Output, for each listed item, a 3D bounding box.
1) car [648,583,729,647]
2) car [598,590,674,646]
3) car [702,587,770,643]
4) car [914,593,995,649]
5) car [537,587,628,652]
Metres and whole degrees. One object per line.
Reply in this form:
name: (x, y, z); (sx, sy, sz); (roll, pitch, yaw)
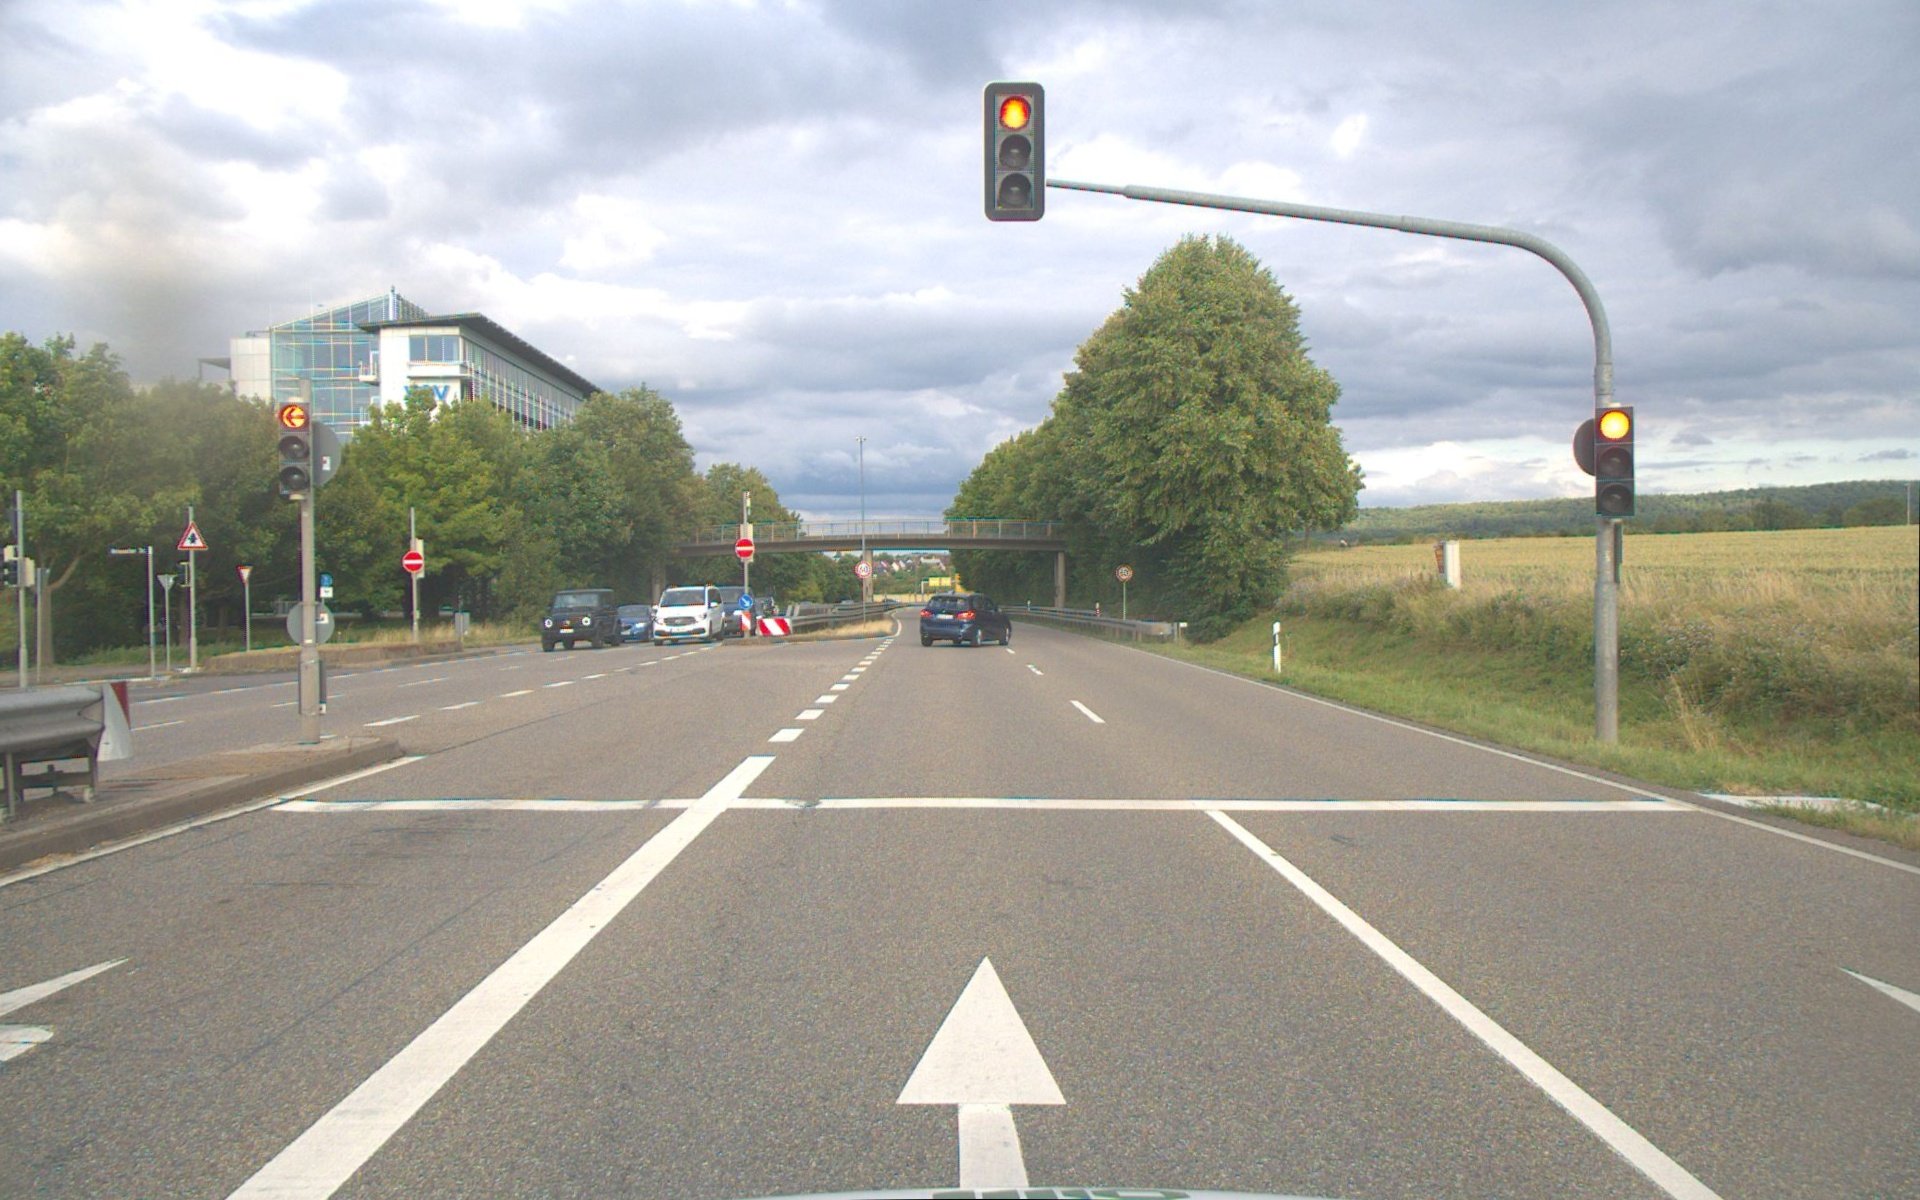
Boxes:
car: (-9.161, 0.487, 56.211); (2.041, 2.049, 5.214); (1, 0, -2)
car: (-12.379, 0.678, 63.553); (2.041, 2.049, 5.214); (1, 0, -2)
car: (-8.614, 0.570, 63.955); (2.041, 2.049, 5.214); (1, 0, -2)
car: (-0.116, 0.626, 49.628); (1.839, 1.579, 4.003); (1, 0, 8)
car: (-12.720, 0.643, 56.048); (2.041, 2.049, 5.214); (1, 0, -2)
